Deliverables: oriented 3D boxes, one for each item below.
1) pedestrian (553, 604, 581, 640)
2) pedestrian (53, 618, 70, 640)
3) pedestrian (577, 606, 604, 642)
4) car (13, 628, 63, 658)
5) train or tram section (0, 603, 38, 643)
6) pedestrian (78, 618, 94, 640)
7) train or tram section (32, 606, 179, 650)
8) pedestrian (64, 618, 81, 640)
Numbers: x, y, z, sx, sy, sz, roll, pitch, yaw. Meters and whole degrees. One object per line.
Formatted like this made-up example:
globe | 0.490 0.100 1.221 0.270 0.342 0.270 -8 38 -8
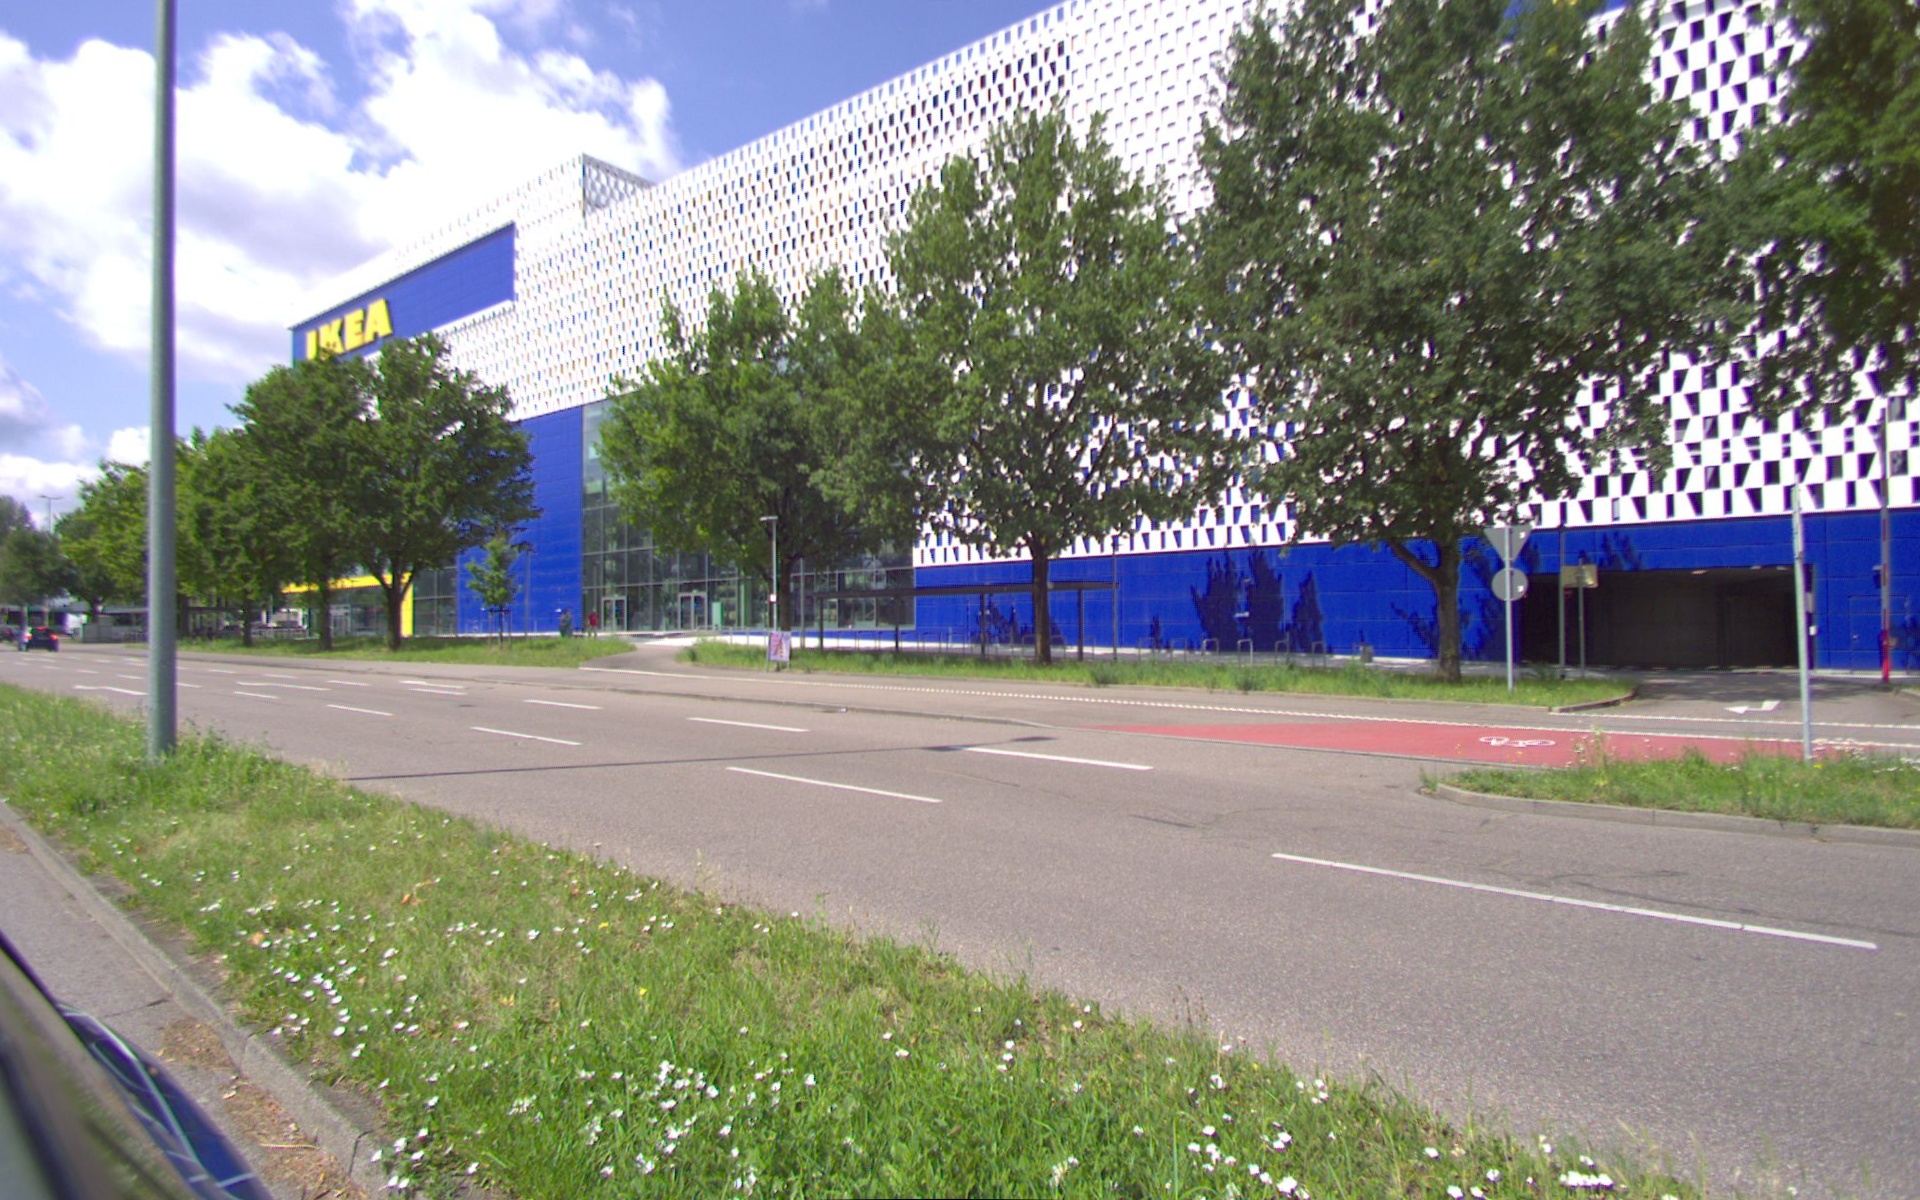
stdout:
pedestrian | -19.558 1.073 50.384 1.165 1.741 0.842 -1 0 43
pedestrian | -88.820 2.864 100.073 0.807 2.110 1.041 -1 0 -8
pedestrian | -18.668 1.202 51.092 1.165 1.741 0.842 -1 0 43
car | -58.021 2.671 63.669 3.998 1.696 1.916 -1 0 41
train or tram section | -109.314 2.493 110.044 3.727 4.404 12.937 -1 -2 38
pedestrian | -86.627 2.835 100.311 0.807 2.110 1.041 -1 0 -8
train or tram section | -101.286 3.213 120.285 3.727 4.708 12.938 -1 0 38
pedestrian | -87.819 2.851 100.127 0.807 2.110 1.041 -1 0 -8
